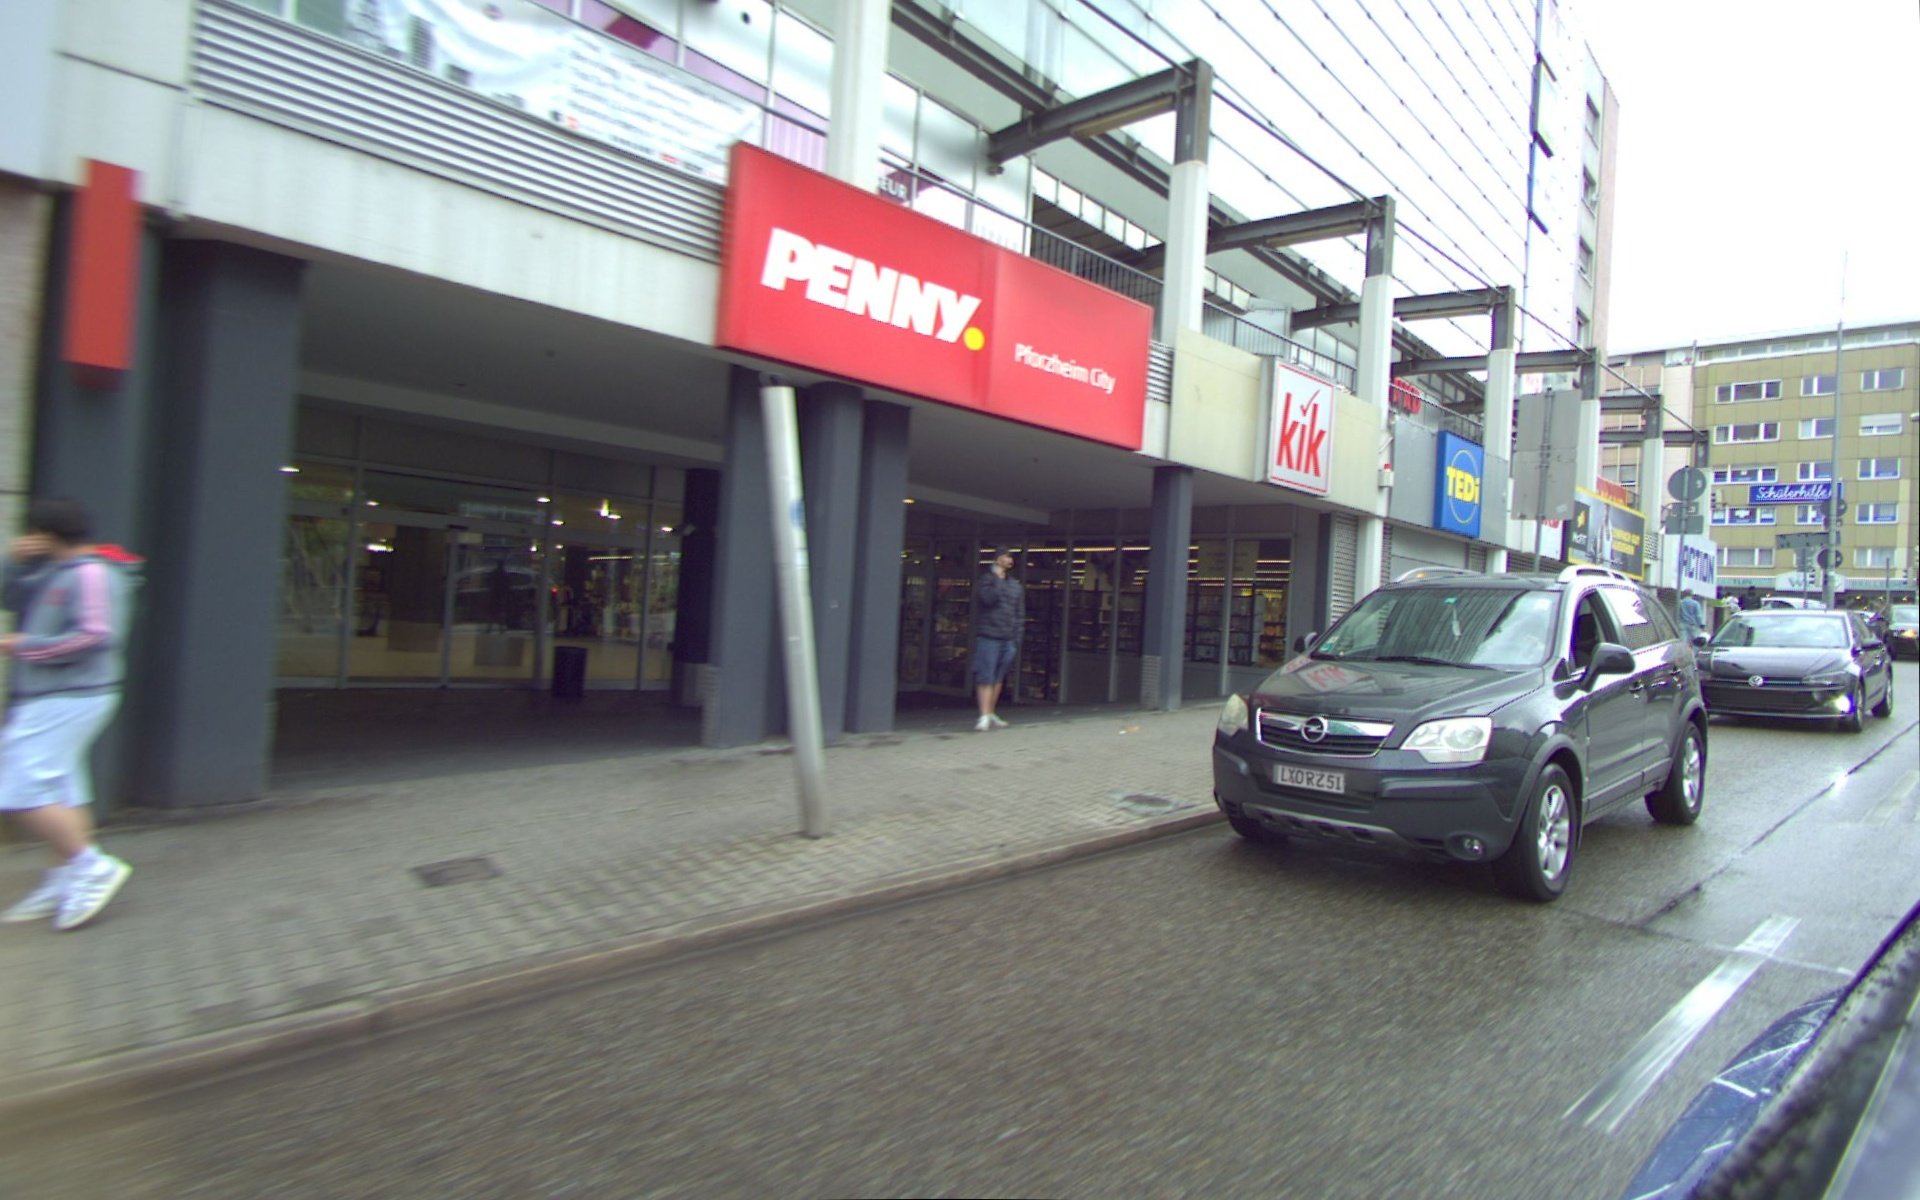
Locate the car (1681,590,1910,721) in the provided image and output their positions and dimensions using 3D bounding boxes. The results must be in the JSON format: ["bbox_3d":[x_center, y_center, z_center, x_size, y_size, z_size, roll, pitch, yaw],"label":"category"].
[{"bbox_3d":[10.915,0.701,13.141,3.812,1.449,1.740,3,-3,-42],"label":"car"}]

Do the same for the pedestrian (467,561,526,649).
[{"bbox_3d":[-10.602,0.110,23.149,0.942,1.951,0.863,3,-1,-41],"label":"pedestrian"}]

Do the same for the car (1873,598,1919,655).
[{"bbox_3d":[28.232,0.787,29.432,1.860,1.566,4.053,3,1,34],"label":"car"}]

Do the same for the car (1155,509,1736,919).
[{"bbox_3d":[3.361,0.560,6.600,4.226,1.808,1.910,2,-2,-41],"label":"car"}]

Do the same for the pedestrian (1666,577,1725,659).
[{"bbox_3d":[16.359,0.391,22.515,0.605,1.744,0.839,2,1,-34],"label":"pedestrian"}]

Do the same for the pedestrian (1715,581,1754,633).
[{"bbox_3d":[30.052,0.273,39.279,0.605,1.888,0.789,7,2,-29],"label":"pedestrian"}]

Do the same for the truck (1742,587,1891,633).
[{"bbox_3d":[32.158,0.337,38.158,1.817,1.560,4.007,2,1,-11],"label":"truck"}]

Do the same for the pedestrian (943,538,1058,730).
[{"bbox_3d":[0.383,0.299,9.689,0.659,1.736,0.817,2,1,-39],"label":"pedestrian"}]

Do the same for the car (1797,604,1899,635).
[{"bbox_3d":[52.007,1.112,59.325,4.387,1.570,1.824,3,2,44],"label":"car"}]

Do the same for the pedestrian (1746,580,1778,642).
[{"bbox_3d":[24.619,0.339,31.056,0.599,1.863,0.996,4,1,45],"label":"pedestrian"}]

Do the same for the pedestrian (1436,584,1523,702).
[{"bbox_3d":[6.818,0.549,13.295,0.585,1.455,0.749,2,3,-34],"label":"pedestrian"}]

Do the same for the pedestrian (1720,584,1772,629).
[{"bbox_3d":[29.537,0.240,38.059,1.042,1.549,1.025,5,3,9],"label":"pedestrian"}]

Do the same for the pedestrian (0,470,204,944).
[{"bbox_3d":[-3.648,0.380,4.130,0.813,1.744,0.839,2,1,-34],"label":"pedestrian"}]

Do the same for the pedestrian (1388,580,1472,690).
[{"bbox_3d":[6.662,0.479,14.369,0.690,1.485,0.775,2,1,-34],"label":"pedestrian"}]
